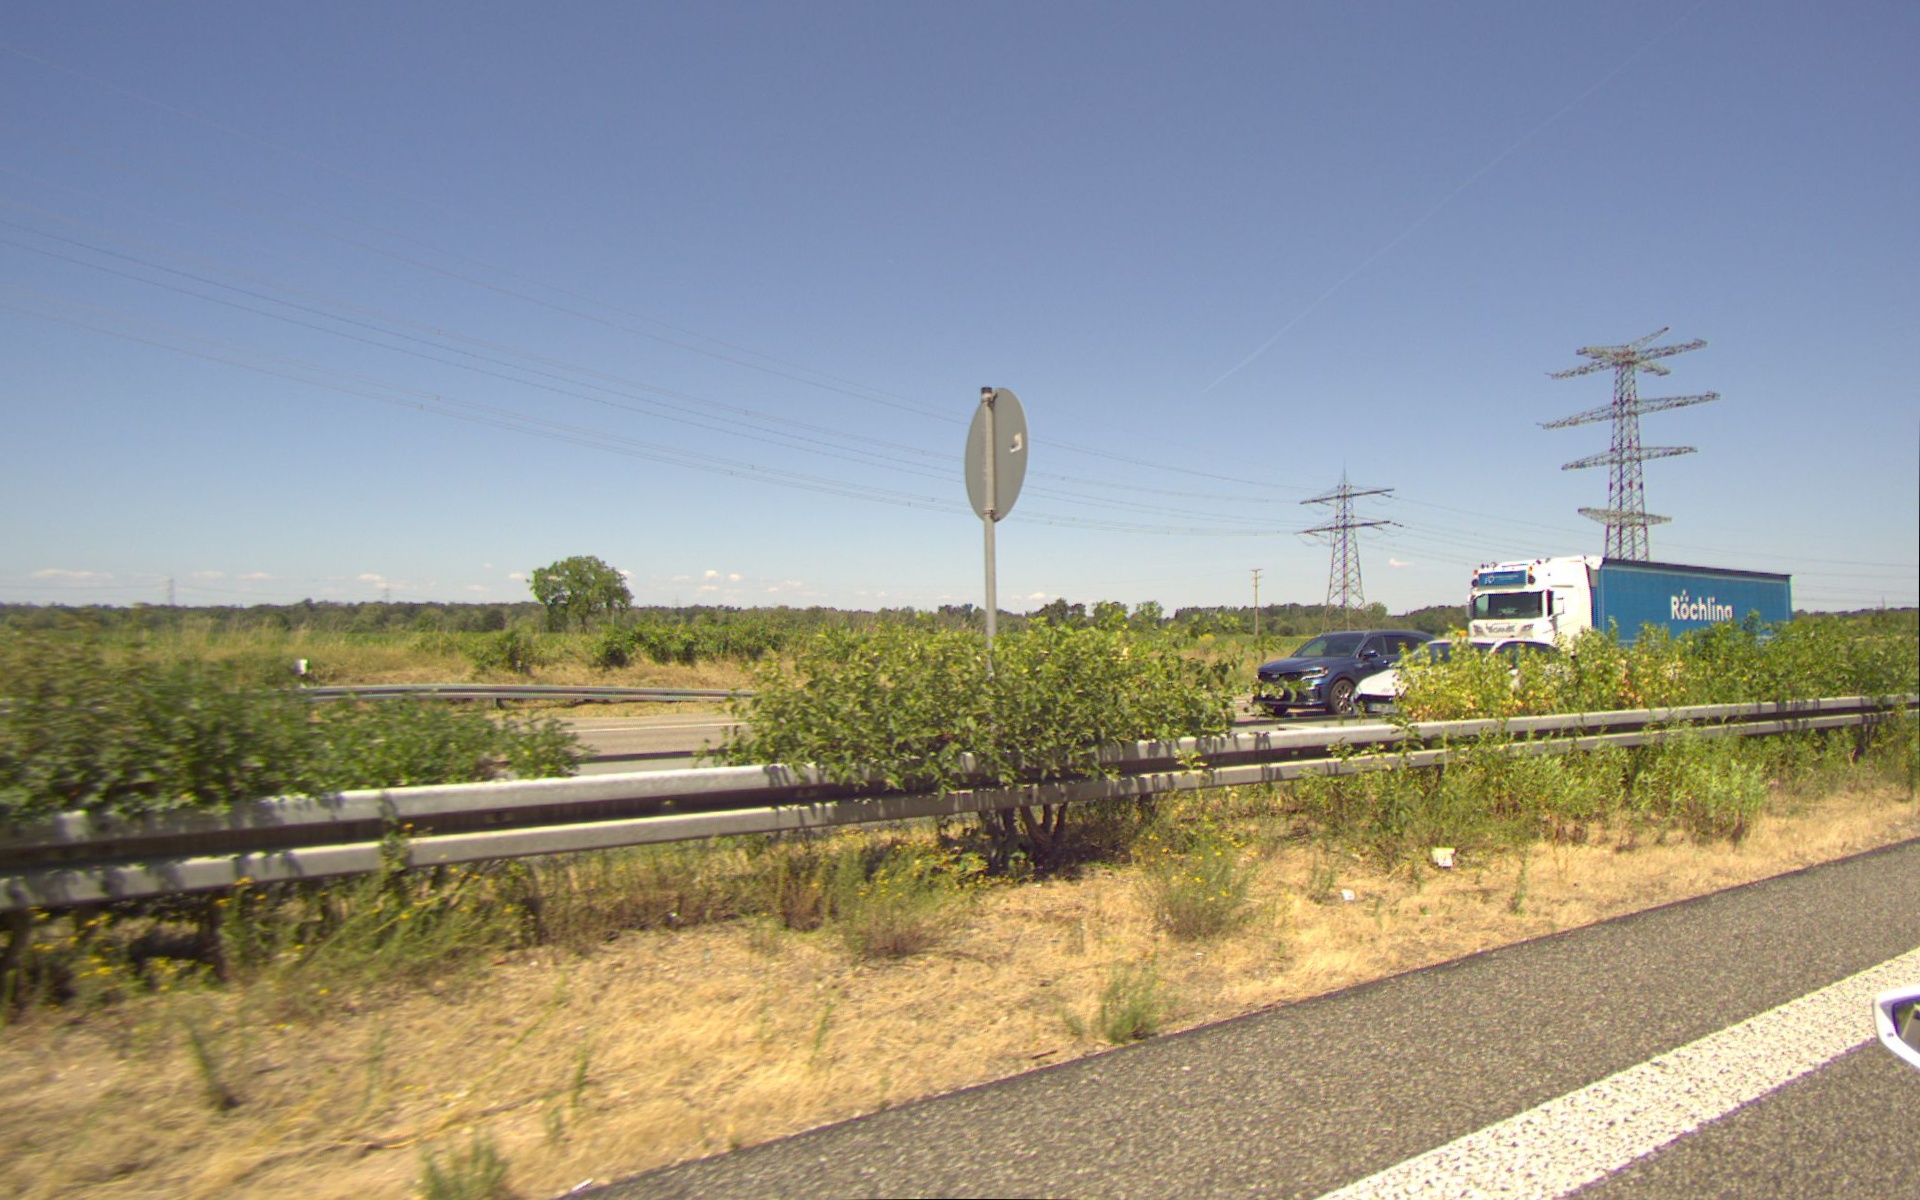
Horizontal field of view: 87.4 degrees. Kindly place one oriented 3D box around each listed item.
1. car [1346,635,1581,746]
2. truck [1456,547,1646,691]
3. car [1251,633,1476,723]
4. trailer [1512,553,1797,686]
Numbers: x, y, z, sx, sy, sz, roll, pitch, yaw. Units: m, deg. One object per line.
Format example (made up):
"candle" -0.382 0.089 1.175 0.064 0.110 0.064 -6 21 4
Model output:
"car" 7.686 1.291 15.267 3.639 1.510 1.464 1 -2 -30
"truck" 18.425 0.630 31.260 5.734 4.122 2.683 1 -2 -31
"car" 8.251 1.515 20.466 4.550 1.654 1.746 1 -2 -28
"trailer" 24.433 0.755 34.862 13.747 3.989 2.680 1 -2 -31
